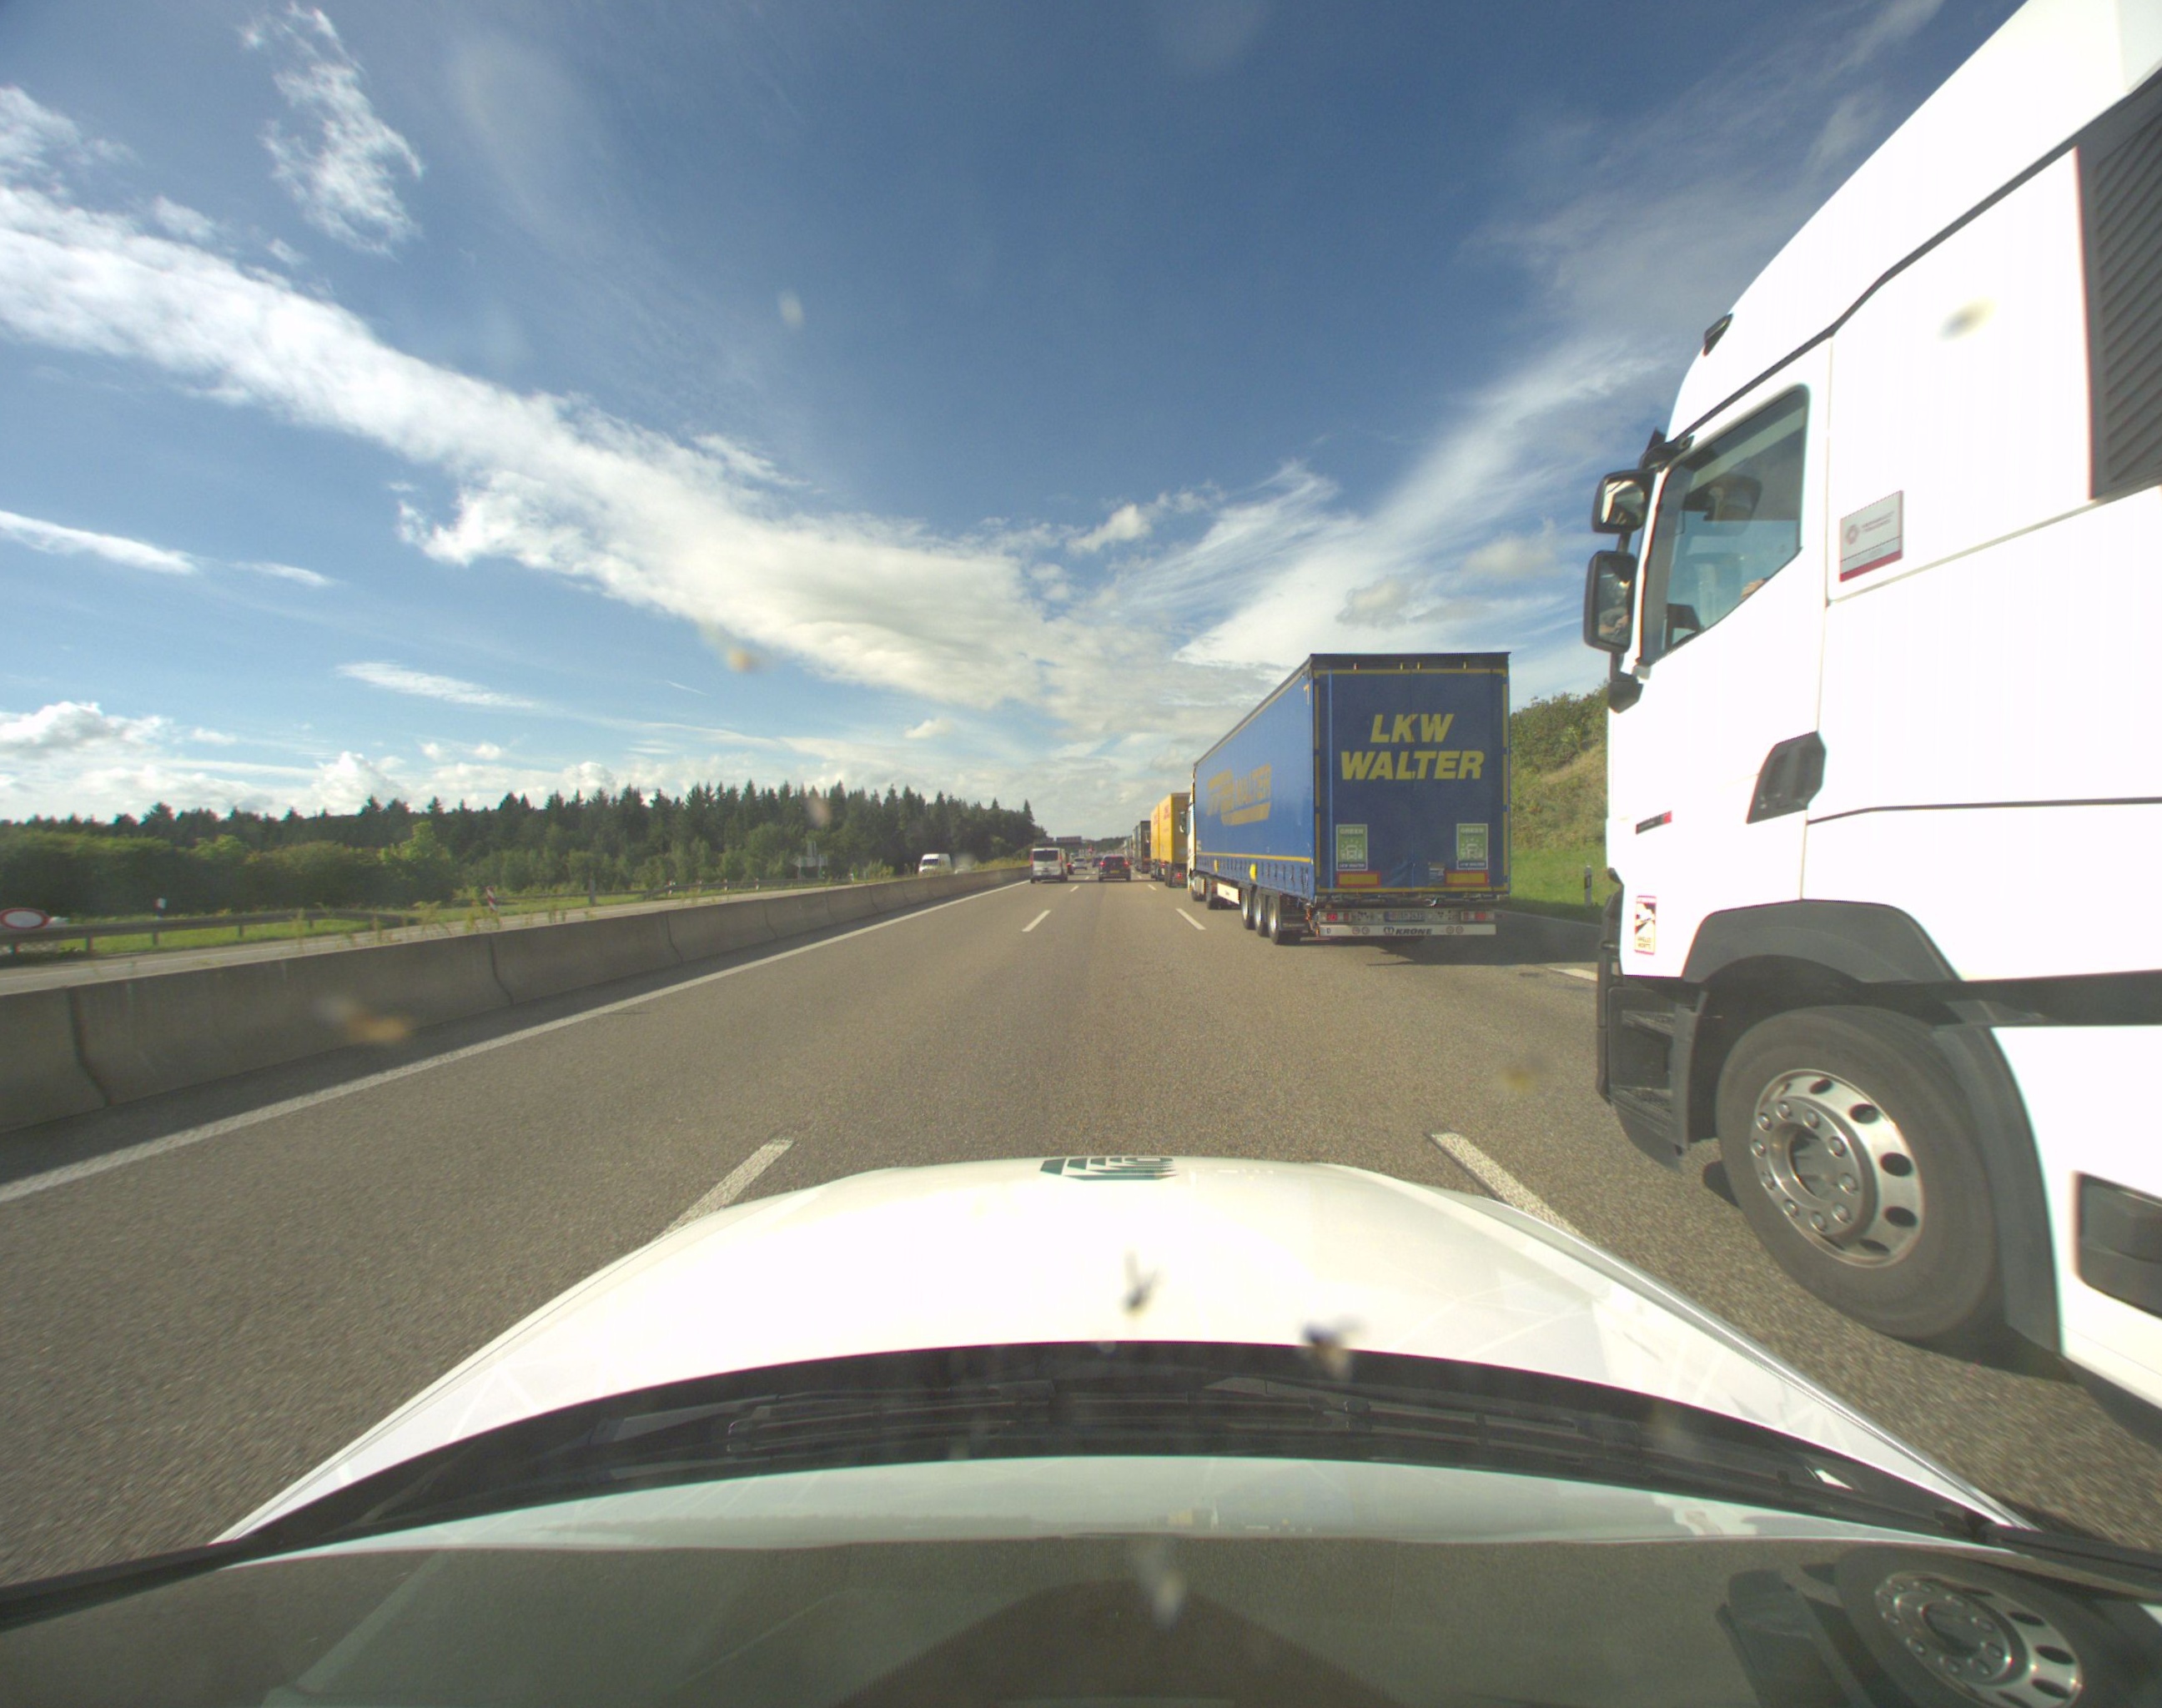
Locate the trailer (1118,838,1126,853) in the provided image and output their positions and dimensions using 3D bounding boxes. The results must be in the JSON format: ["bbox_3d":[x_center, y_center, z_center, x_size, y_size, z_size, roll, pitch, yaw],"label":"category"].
[{"bbox_3d":[12.195,-2.401,240.367,2.141,4.259,8.446,-4,0,3],"label":"trailer"}]

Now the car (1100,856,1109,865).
[{"bbox_3d":[3.914,1.036,134.981,1.355,1.396,3.086,-1,0,2],"label":"car"}]

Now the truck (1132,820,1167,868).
[{"bbox_3d":[6.086,-0.853,74.021,2.729,4.038,10.209,-1,0,3],"label":"truck"}]

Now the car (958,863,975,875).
[{"bbox_3d":[-17.554,2.298,124.935,1.988,1.800,4.973,-1,0,-2],"label":"car"}]

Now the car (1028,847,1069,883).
[{"bbox_3d":[-1.815,0.612,47.417,1.925,1.979,5.101,-1,0,2],"label":"car"}]

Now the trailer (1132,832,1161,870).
[{"bbox_3d":[7.335,-0.308,92.840,2.780,3.938,13.080,-3,0,3],"label":"trailer"}]

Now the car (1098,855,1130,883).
[{"bbox_3d":[1.879,0.794,46.030,1.690,1.483,4.162,-1,0,2],"label":"car"}]

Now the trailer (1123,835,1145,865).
[{"bbox_3d":[7.575,-0.528,118.541,2.651,3.868,13.403,-4,0,3],"label":"trailer"}]

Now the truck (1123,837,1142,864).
[{"bbox_3d":[7.879,-0.507,125.655,2.636,3.868,7.000,-4,0,2],"label":"truck"}]

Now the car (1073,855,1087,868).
[{"bbox_3d":[-0.085,0.846,93.229,1.494,1.396,3.478,-1,0,2],"label":"car"}]

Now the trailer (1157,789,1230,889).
[{"bbox_3d":[5.011,-0.630,37.814,2.402,4.068,8.931,-1,0,2],"label":"trailer"}]

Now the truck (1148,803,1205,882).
[{"bbox_3d":[5.358,-0.591,47.120,2.402,4.068,9.669,-1,0,2],"label":"truck"}]

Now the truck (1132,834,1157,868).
[{"bbox_3d":[7.683,-0.362,99.278,2.790,3.938,5.830,-3,0,3],"label":"truck"}]

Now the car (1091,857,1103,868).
[{"bbox_3d":[2.285,1.175,112.512,1.575,1.396,3.209,-1,0,2],"label":"car"}]

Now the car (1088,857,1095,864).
[{"bbox_3d":[2.201,1.393,176.805,1.429,1.310,3.535,-1,0,2],"label":"car"}]

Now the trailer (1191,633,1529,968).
[{"bbox_3d":[4.390,-0.634,17.065,2.632,4.098,13.985,-1,0,2],"label":"trailer"}]

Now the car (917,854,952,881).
[{"bbox_3d":[-15.148,1.359,84.630,2.026,2.578,7.325,-1,0,2],"label":"car"}]

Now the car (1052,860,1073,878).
[{"bbox_3d":[-1.482,1.239,66.641,1.494,1.396,3.478,-1,0,2],"label":"car"}]

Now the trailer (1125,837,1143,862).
[{"bbox_3d":[9.302,-0.821,144.084,2.692,4.081,12.952,-5,0,2],"label":"trailer"}]

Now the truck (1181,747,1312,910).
[{"bbox_3d":[4.604,-0.626,23.911,2.638,4.089,6.494,-1,0,2],"label":"truck"}]

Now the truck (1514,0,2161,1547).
[{"bbox_3d":[3.506,-0.542,0.797,2.638,3.925,6.946,-1,0,2],"label":"truck"}]

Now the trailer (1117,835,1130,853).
[{"bbox_3d":[10.947,-2.598,208.188,2.791,4.243,11.065,-5,0,3],"label":"trailer"}]

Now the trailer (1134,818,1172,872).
[{"bbox_3d":[5.570,-0.700,64.555,2.704,3.960,8.719,-1,0,3],"label":"trailer"}]
